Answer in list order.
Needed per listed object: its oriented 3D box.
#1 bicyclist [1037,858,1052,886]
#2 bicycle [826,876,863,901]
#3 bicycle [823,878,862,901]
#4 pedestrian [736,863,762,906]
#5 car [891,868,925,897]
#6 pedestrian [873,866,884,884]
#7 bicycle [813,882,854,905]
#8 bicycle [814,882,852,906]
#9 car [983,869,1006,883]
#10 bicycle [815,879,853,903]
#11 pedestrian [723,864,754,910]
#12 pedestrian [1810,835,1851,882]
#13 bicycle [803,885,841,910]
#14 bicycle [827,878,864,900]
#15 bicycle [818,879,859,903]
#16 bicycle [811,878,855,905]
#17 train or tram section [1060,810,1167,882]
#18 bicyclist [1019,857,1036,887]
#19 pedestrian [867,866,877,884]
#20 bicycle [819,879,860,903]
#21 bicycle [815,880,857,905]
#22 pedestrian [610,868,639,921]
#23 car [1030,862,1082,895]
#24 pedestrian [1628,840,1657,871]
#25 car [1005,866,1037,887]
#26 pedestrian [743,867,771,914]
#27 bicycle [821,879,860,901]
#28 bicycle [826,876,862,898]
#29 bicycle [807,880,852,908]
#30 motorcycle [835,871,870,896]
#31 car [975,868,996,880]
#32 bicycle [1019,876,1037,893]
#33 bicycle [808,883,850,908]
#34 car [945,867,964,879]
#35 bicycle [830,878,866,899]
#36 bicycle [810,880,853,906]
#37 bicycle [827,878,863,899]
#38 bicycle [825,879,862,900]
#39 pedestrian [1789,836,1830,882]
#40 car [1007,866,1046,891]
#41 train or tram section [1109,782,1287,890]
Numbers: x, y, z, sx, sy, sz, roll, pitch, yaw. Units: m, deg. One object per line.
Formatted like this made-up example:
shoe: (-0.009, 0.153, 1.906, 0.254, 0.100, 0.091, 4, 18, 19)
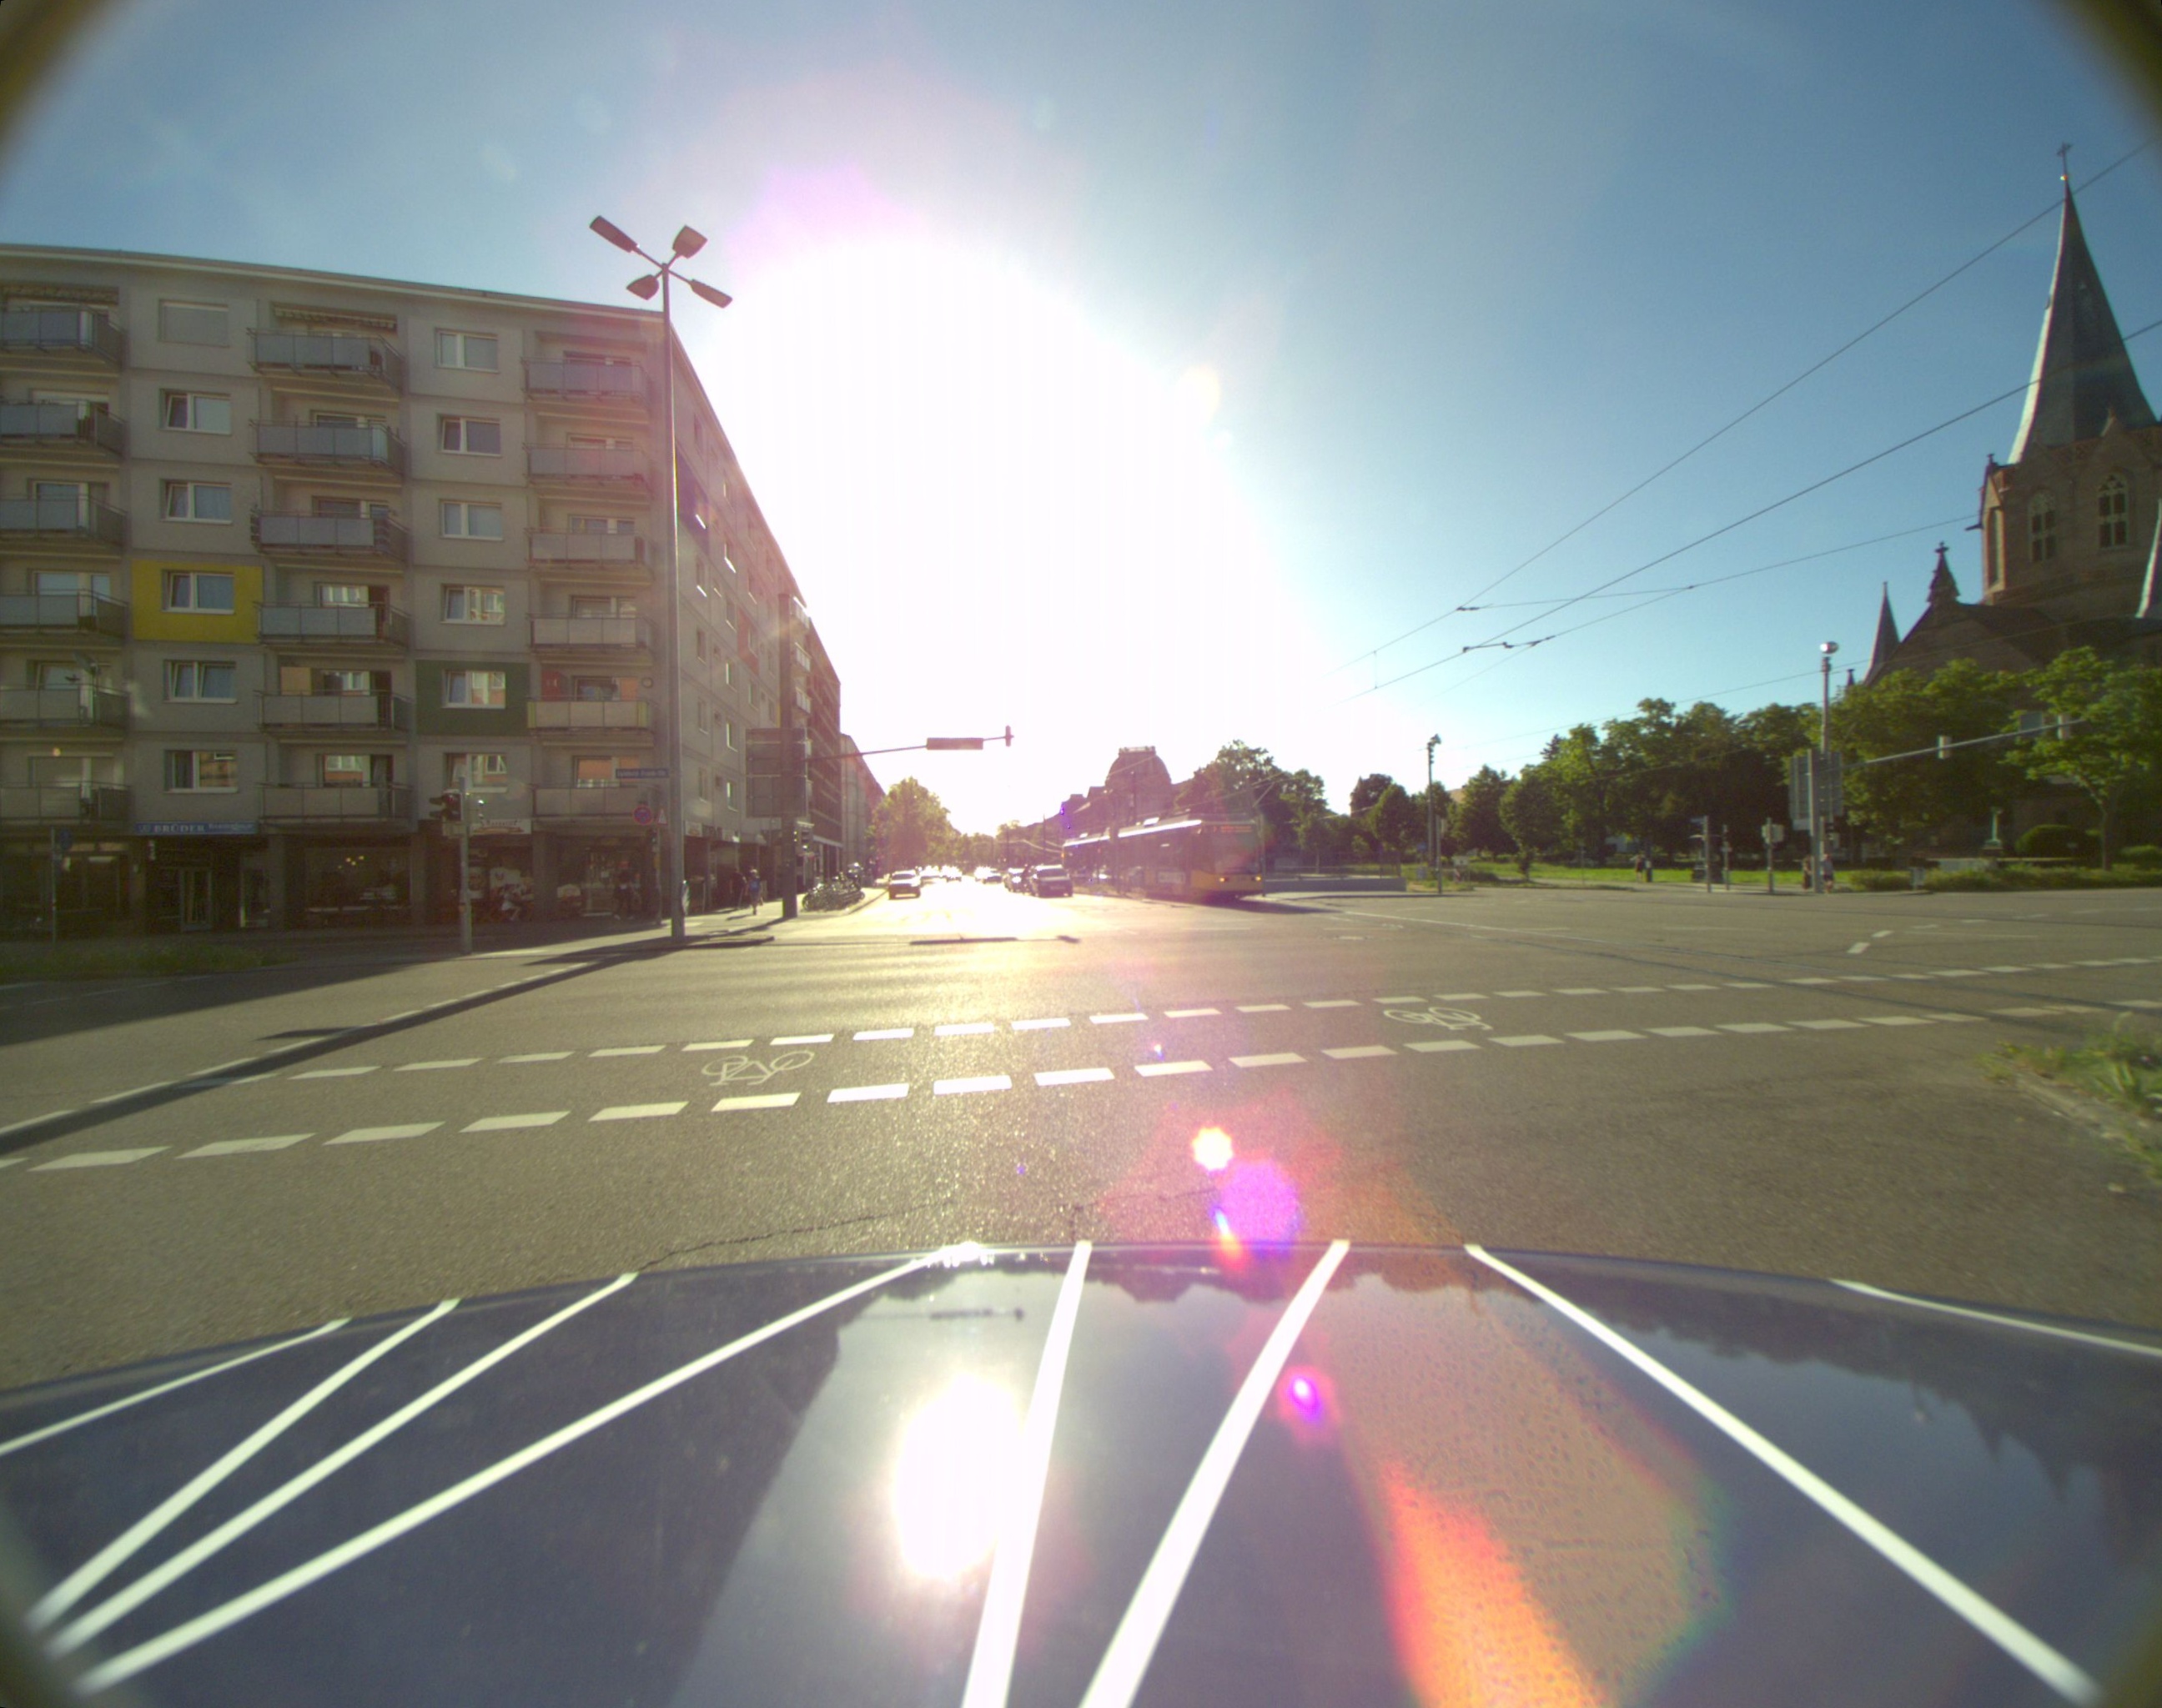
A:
bicyclist: (-2.204, 1.068, 45.395, 0.694, 1.650, 0.918, -3, 1, -12)
bicycle: (-12.316, 1.776, 39.577, 1.784, 1.222, 0.415, -1, 1, -16)
bicycle: (-11.965, 1.771, 38.126, 1.825, 1.063, 0.414, -1, 2, -16)
pedestrian: (-15.019, 1.361, 34.418, 0.791, 1.875, 0.874, -2, 0, -4)
car: (-11.176, 1.804, 49.264, 1.903, 1.677, 4.114, -2, 0, -10)
pedestrian: (-21.695, 2.228, 81.506, 0.868, 1.872, 1.220, -2, 0, -28)
bicycle: (-11.586, 1.851, 35.644, 1.776, 1.049, 0.415, 0, 0, -12)
bicycle: (-11.143, 1.783, 34.202, 1.548, 0.960, 0.387, -3, 1, -12)
car: (-8.666, 2.153, 75.955, 1.860, 1.284, 4.091, -2, 0, -12)
bicycle: (-11.412, 1.704, 35.163, 1.644, 1.105, 0.530, 1, 0, -14)
pedestrian: (-14.351, 1.364, 31.850, 0.866, 1.824, 1.209, -2, 0, -12)
pedestrian: (33.423, 0.188, 33.892, 0.879, 2.002, 0.924, -3, 1, -10)
bicycle: (-10.757, 1.793, 31.587, 1.434, 1.005, 0.410, 0, 1, -10)
bicycle: (-12.374, 1.847, 39.991, 1.825, 1.054, 0.415, -2, 1, -16)
bicycle: (-11.620, 1.779, 36.439, 1.824, 1.054, 0.415, -3, 1, -12)
bicycle: (-11.295, 1.699, 34.646, 1.820, 1.076, 0.530, -3, 1, -15)
train or tram section: (1.502, -0.320, 45.486, 2.959, 3.591, 13.621, -2, 0, -12)
bicyclist: (-3.179, 1.084, 45.173, 0.704, 1.720, 0.853, -3, 1, -17)
pedestrian: (-19.821, 1.956, 72.074, 0.773, 1.641, 0.671, -2, 0, 0)
bicycle: (-11.705, 1.800, 36.864, 1.824, 1.054, 0.415, -2, 0, -14)
bicycle: (-11.593, 1.808, 36.029, 1.824, 1.107, 0.405, -2, 0, -12)
pedestrian: (-15.706, 1.374, 26.136, 0.569, 1.763, 0.664, -2, 0, -4)
car: (-1.422, 1.250, 40.535, 2.000, 1.528, 4.352, -3, 1, -12)
pedestrian: (34.225, 0.112, 46.333, 0.845, 1.836, 1.114, -3, 1, -14)
car: (-4.697, 1.725, 58.670, 1.893, 1.421, 4.128, -3, 0, -12)
pedestrian: (-12.498, 1.389, 29.321, 0.792, 1.766, 0.874, -2, 0, -12)
bicycle: (-11.786, 1.758, 37.279, 1.825, 1.054, 0.415, 0, 1, -15)
bicycle: (-13.036, 1.812, 41.830, 1.825, 1.167, 0.702, -1, 1, -16)
bicycle: (-11.030, 1.745, 33.357, 1.757, 1.070, 0.405, -3, 1, -13)
motorcycle: (-13.195, 1.709, 43.875, 1.886, 1.421, 0.888, 0, 0, -16)
car: (-11.091, 2.308, 87.853, 1.988, 1.284, 4.322, -2, 0, -12)
bicycle: (-3.149, 1.787, 45.204, 0.631, 0.934, 1.903, -3, 1, -17)
bicycle: (-10.818, 1.789, 32.660, 1.706, 1.005, 0.410, 0, 0, -14)
car: (-15.070, 2.260, 90.564, 1.988, 1.284, 4.389, -2, 0, -12)
bicycle: (-12.506, 1.831, 40.828, 1.825, 1.054, 0.415, -1, 1, -16)
bicycle: (-11.090, 1.740, 33.772, 1.756, 1.093, 0.399, -1, 1, -13)
bicycle: (-12.523, 1.834, 40.364, 1.825, 1.054, 0.415, -1, 1, -15)
bicycle: (-12.101, 1.785, 38.748, 1.825, 1.006, 0.415, -1, 0, -16)
pedestrian: (32.353, 0.223, 33.736, 0.879, 2.002, 0.924, -3, 1, -10)
car: (-3.687, 1.576, 50.575, 2.000, 1.421, 4.128, -3, 1, -12)
train or tram section: (4.328, -0.535, 32.754, 2.959, 3.663, 13.171, -2, 0, -12)
